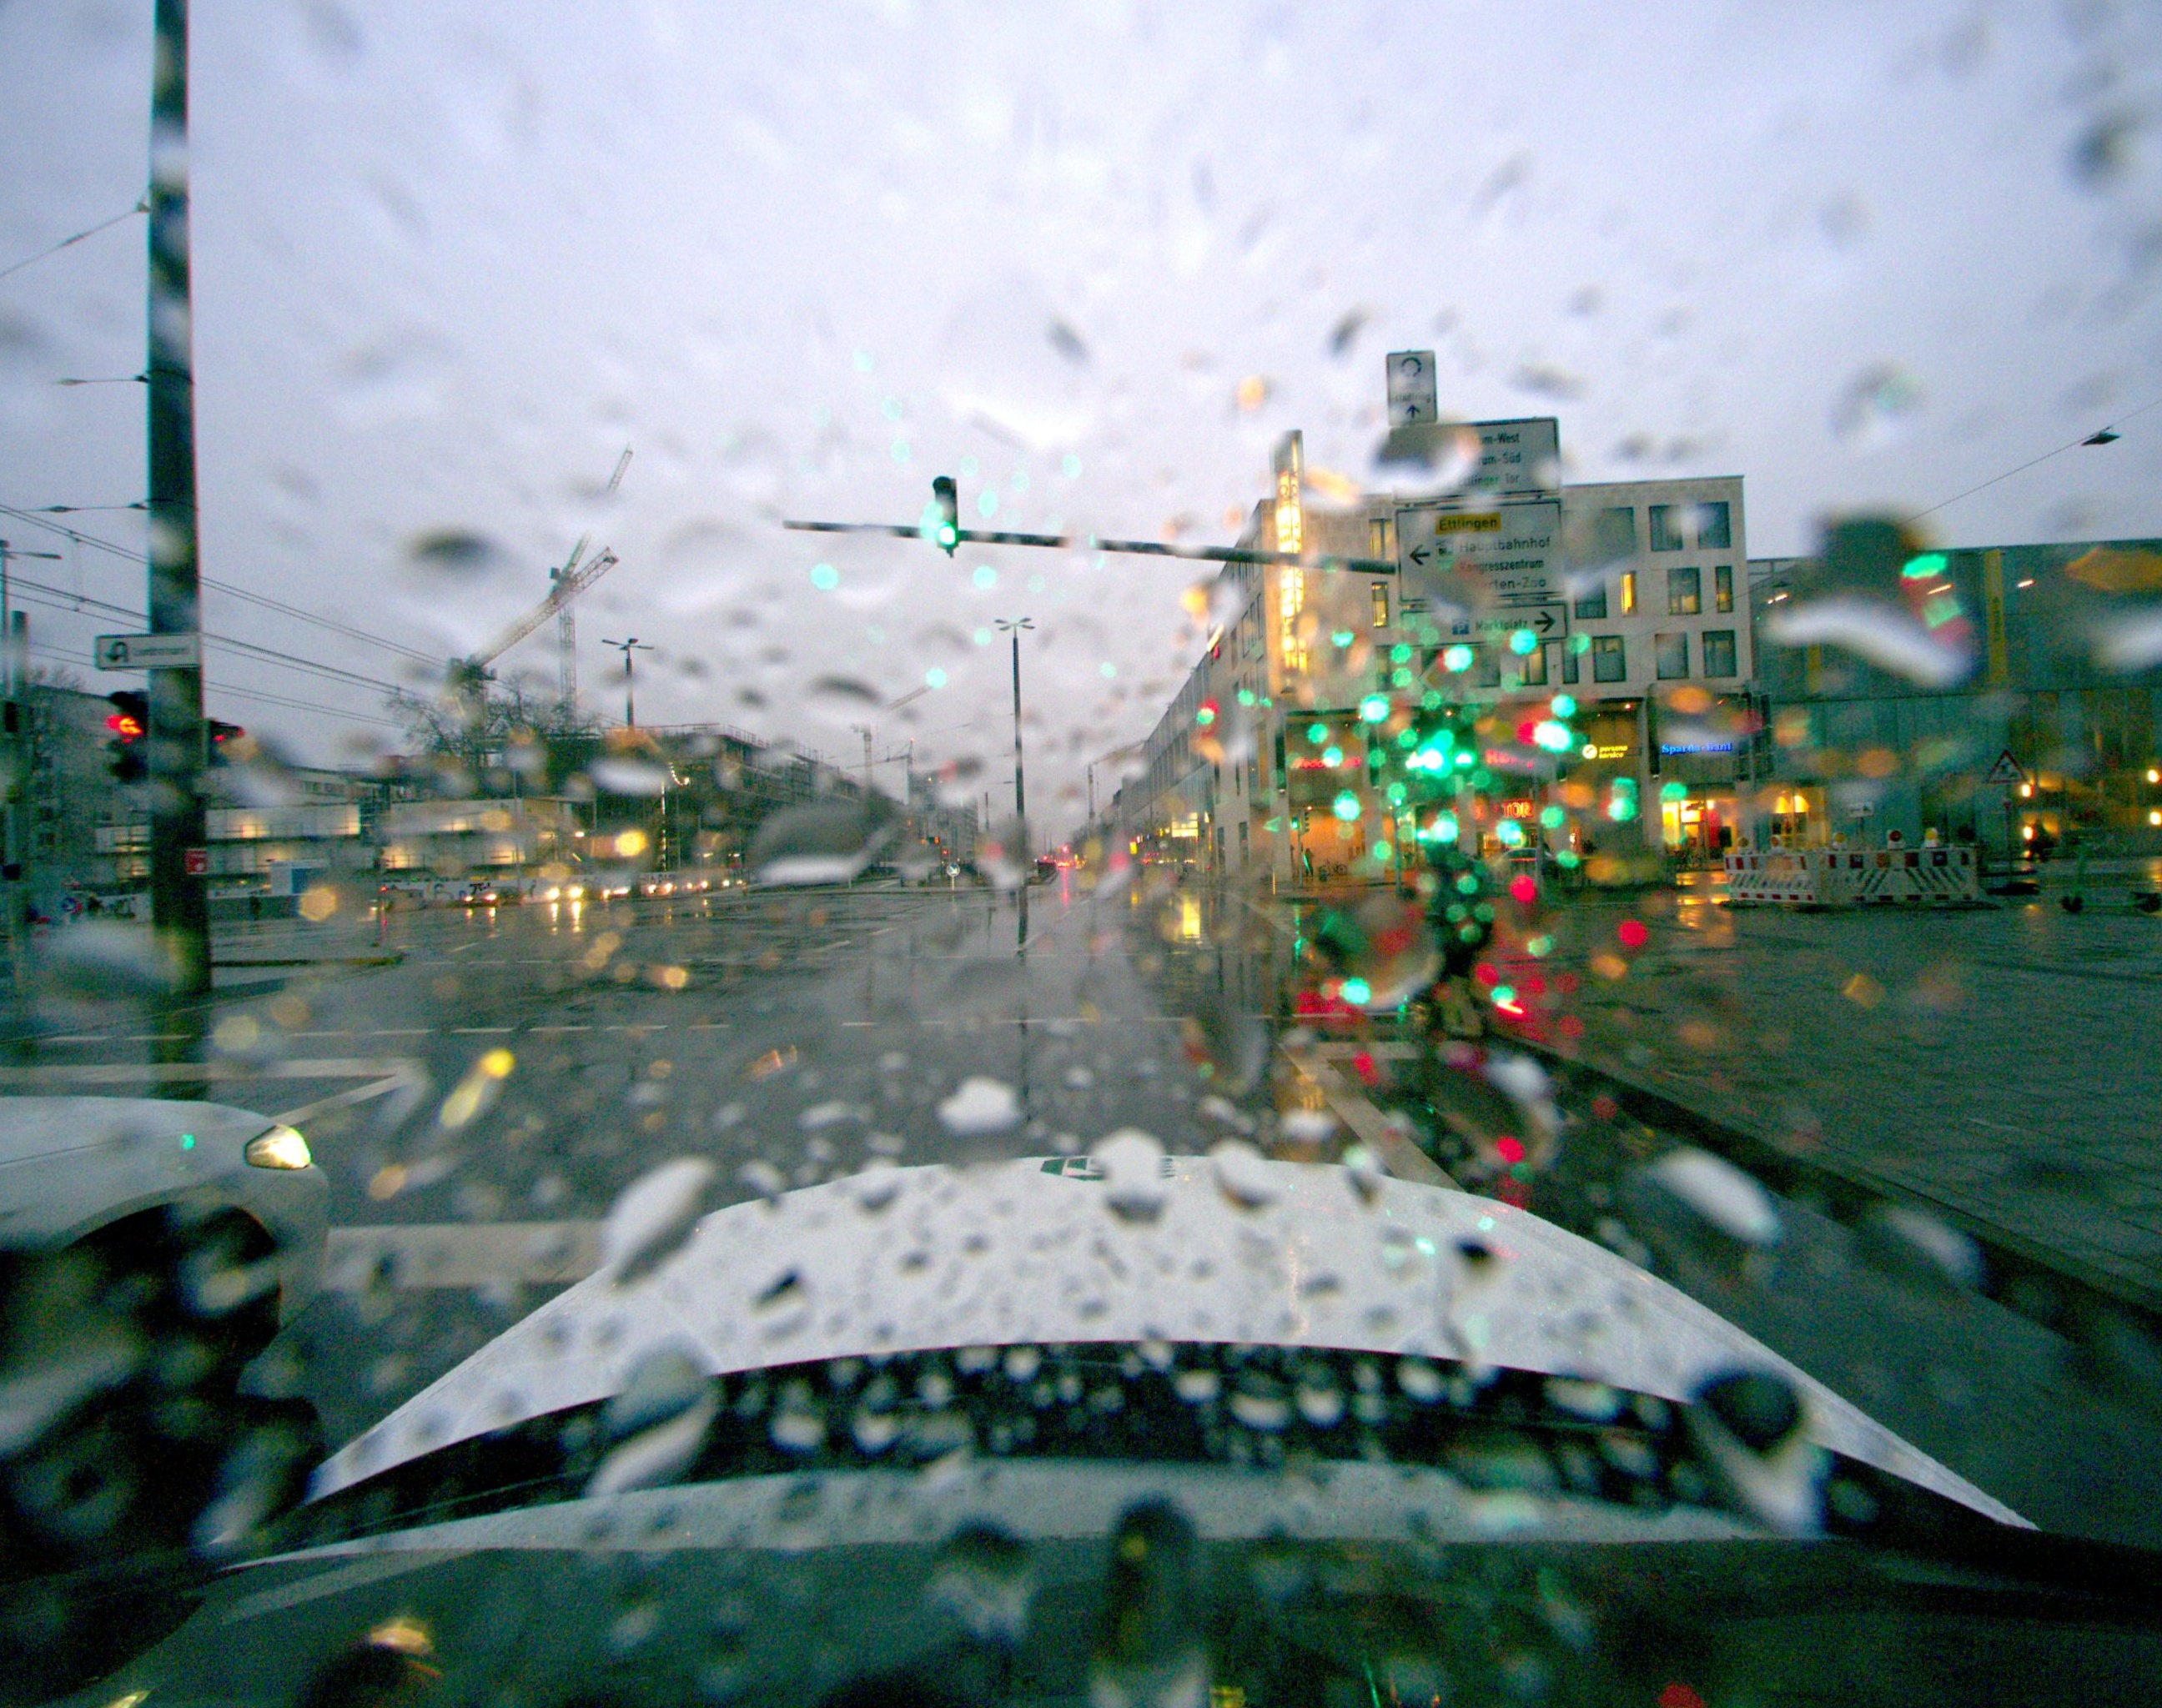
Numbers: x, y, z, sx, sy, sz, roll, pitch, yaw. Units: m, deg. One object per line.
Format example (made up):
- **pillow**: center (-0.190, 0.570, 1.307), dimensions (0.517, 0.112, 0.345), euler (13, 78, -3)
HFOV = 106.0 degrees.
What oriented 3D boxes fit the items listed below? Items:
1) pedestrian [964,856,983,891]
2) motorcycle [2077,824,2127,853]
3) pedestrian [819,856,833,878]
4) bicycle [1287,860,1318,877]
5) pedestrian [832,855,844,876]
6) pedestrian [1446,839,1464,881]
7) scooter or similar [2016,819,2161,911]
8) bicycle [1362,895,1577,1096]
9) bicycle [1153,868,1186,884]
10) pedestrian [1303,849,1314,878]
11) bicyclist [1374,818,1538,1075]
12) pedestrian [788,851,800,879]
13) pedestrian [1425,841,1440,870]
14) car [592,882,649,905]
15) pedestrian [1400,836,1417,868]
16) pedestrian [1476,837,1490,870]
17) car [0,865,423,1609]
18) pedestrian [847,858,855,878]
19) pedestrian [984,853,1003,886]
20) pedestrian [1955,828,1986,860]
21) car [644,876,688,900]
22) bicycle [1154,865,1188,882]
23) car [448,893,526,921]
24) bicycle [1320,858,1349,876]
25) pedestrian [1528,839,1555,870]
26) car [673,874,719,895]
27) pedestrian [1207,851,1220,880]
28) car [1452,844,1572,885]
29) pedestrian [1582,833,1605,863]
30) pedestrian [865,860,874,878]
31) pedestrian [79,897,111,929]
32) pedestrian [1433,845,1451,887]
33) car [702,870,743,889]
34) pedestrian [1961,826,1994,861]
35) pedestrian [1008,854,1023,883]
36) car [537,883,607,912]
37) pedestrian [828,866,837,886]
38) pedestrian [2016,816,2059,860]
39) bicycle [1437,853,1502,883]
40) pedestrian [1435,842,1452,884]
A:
- **pedestrian**: center (-6.227, 1.101, 47.099), dimensions (0.776, 2.014, 0.732), euler (-1, -1, 44)
- **motorcycle**: center (48.188, -0.713, 38.445), dimensions (1.482, 1.352, 0.595), euler (-1, 0, 5)
- **pedestrian**: center (-23.818, 1.244, 76.172), dimensions (0.938, 2.014, 1.095), euler (-1, -1, 3)
- **bicycle**: center (13.607, 0.888, 50.003), dimensions (1.765, 1.070, 0.523), euler (0, -1, -7)
- **pedestrian**: center (-24.282, 1.144, 81.427), dimensions (0.941, 2.014, 1.091), euler (0, -1, -8)
- **pedestrian**: center (22.340, 0.355, 48.649), dimensions (0.691, 2.449, 0.791), euler (-1, -1, 1)
- **scooter or similar**: center (15.655, 0.159, 12.643), dimensions (0.590, 1.352, 1.495), euler (-1, 0, 2)
- **bicycle**: center (2.637, 0.896, 5.778), dimensions (0.705, 1.094, 1.785), euler (-1, 0, 2)
- **bicycle**: center (6.734, 1.659, 61.914), dimensions (2.417, 1.099, 0.712), euler (-2, -1, 0)
- **pedestrian**: center (13.697, 0.555, 49.065), dimensions (0.596, 1.745, 0.526), euler (-1, -1, 10)
- **bicyclist**: center (2.626, 0.607, 5.813), dimensions (0.700, 1.660, 0.965), euler (-2, 0, 2)
- **pedestrian**: center (-24.345, 0.948, 69.103), dimensions (0.762, 2.323, 0.763), euler (-1, -2, 1)
- **pedestrian**: center (21.904, 0.096, 50.703), dimensions (0.728, 1.718, 0.743), euler (-3, -1, 29)
- **car**: center (-34.457, 2.926, 61.058), dimensions (2.074, 1.530, 4.603), euler (-2, -1, -8)
- **pedestrian**: center (21.432, -0.136, 53.350), dimensions (0.841, 2.013, 0.700), euler (-2, -1, 10)
- **pedestrian**: center (22.860, -0.031, 46.332), dimensions (0.549, 1.826, 0.361), euler (-2, -1, 2)
- **car**: center (-3.223, 0.801, 0.386), dimensions (2.010, 1.487, 4.561), euler (-2, 0, 1)
- **pedestrian**: center (-22.885, 1.405, 80.938), dimensions (0.569, 1.968, 0.664), euler (1, -1, -4)
- **pedestrian**: center (-4.998, 0.876, 46.370), dimensions (0.826, 1.831, 0.778), euler (0, -1, -29)
- **pedestrian**: center (46.457, -0.520, 42.522), dimensions (0.737, 1.684, 0.783), euler (-1, -1, 8)
- **car**: center (-34.465, 2.808, 67.781), dimensions (1.862, 1.828, 3.993), euler (0, -1, -5)
- **bicycle**: center (6.756, 1.477, 61.095), dimensions (2.434, 1.154, 0.674), euler (-2, -1, 0)
- **car**: center (-38.299, 3.387, 52.622), dimensions (1.986, 1.530, 4.001), euler (-2, -1, 2)
- **bicycle**: center (15.601, 0.802, 50.088), dimensions (1.642, 1.070, 0.524), euler (0, -1, -2)
- **pedestrian**: center (25.501, 0.022, 45.089), dimensions (1.026, 1.684, 0.824), euler (-1, -1, 1)
- **car**: center (-34.899, 2.758, 73.989), dimensions (1.984, 1.790, 4.006), euler (-1, -1, 5)
- **pedestrian**: center (7.855, 0.681, 48.313), dimensions (0.634, 1.709, 0.574), euler (-2, -1, 1)
- **car**: center (17.964, 0.453, 34.073), dimensions (3.971, 1.618, 2.001), euler (-1, -1, 2)
- **pedestrian**: center (29.316, -0.326, 46.569), dimensions (0.890, 1.684, 0.528), euler (-2, -1, 1)
- **pedestrian**: center (-24.387, 1.763, 93.994), dimensions (0.941, 2.014, 1.091), euler (0, -1, -8)
- **pedestrian**: center (-60.678, 3.620, 50.132), dimensions (0.921, 1.934, 0.816), euler (0, -1, -5)
- **pedestrian**: center (20.973, 0.707, 47.311), dimensions (0.712, 2.441, 0.758), euler (-1, -1, 1)
- **car**: center (-34.972, 2.481, 79.548), dimensions (1.984, 1.790, 4.006), euler (-1, -1, 5)
- **pedestrian**: center (43.935, -0.523, 39.910), dimensions (0.737, 1.684, 0.783), euler (-1, -1, 8)
- **pedestrian**: center (-3.830, 0.855, 47.426), dimensions (0.605, 1.686, 0.581), euler (-1, -1, 44)
- **car**: center (-33.431, 2.804, 53.601), dimensions (1.986, 1.657, 4.001), euler (-2, -1, 2)
- **pedestrian**: center (-23.560, 2.065, 77.276), dimensions (0.696, 1.881, 0.553), euler (-1, -1, 1)
- **pedestrian**: center (37.030, -0.615, 31.540), dimensions (0.737, 1.684, 0.783), euler (-1, -1, 8)
- **bicycle**: center (19.204, 0.684, 40.283), dimensions (2.705, 1.359, 0.957), euler (-2, -1, -2)
- **pedestrian**: center (21.540, 0.523, 48.398), dimensions (0.687, 2.441, 0.758), euler (-1, -1, 1)
